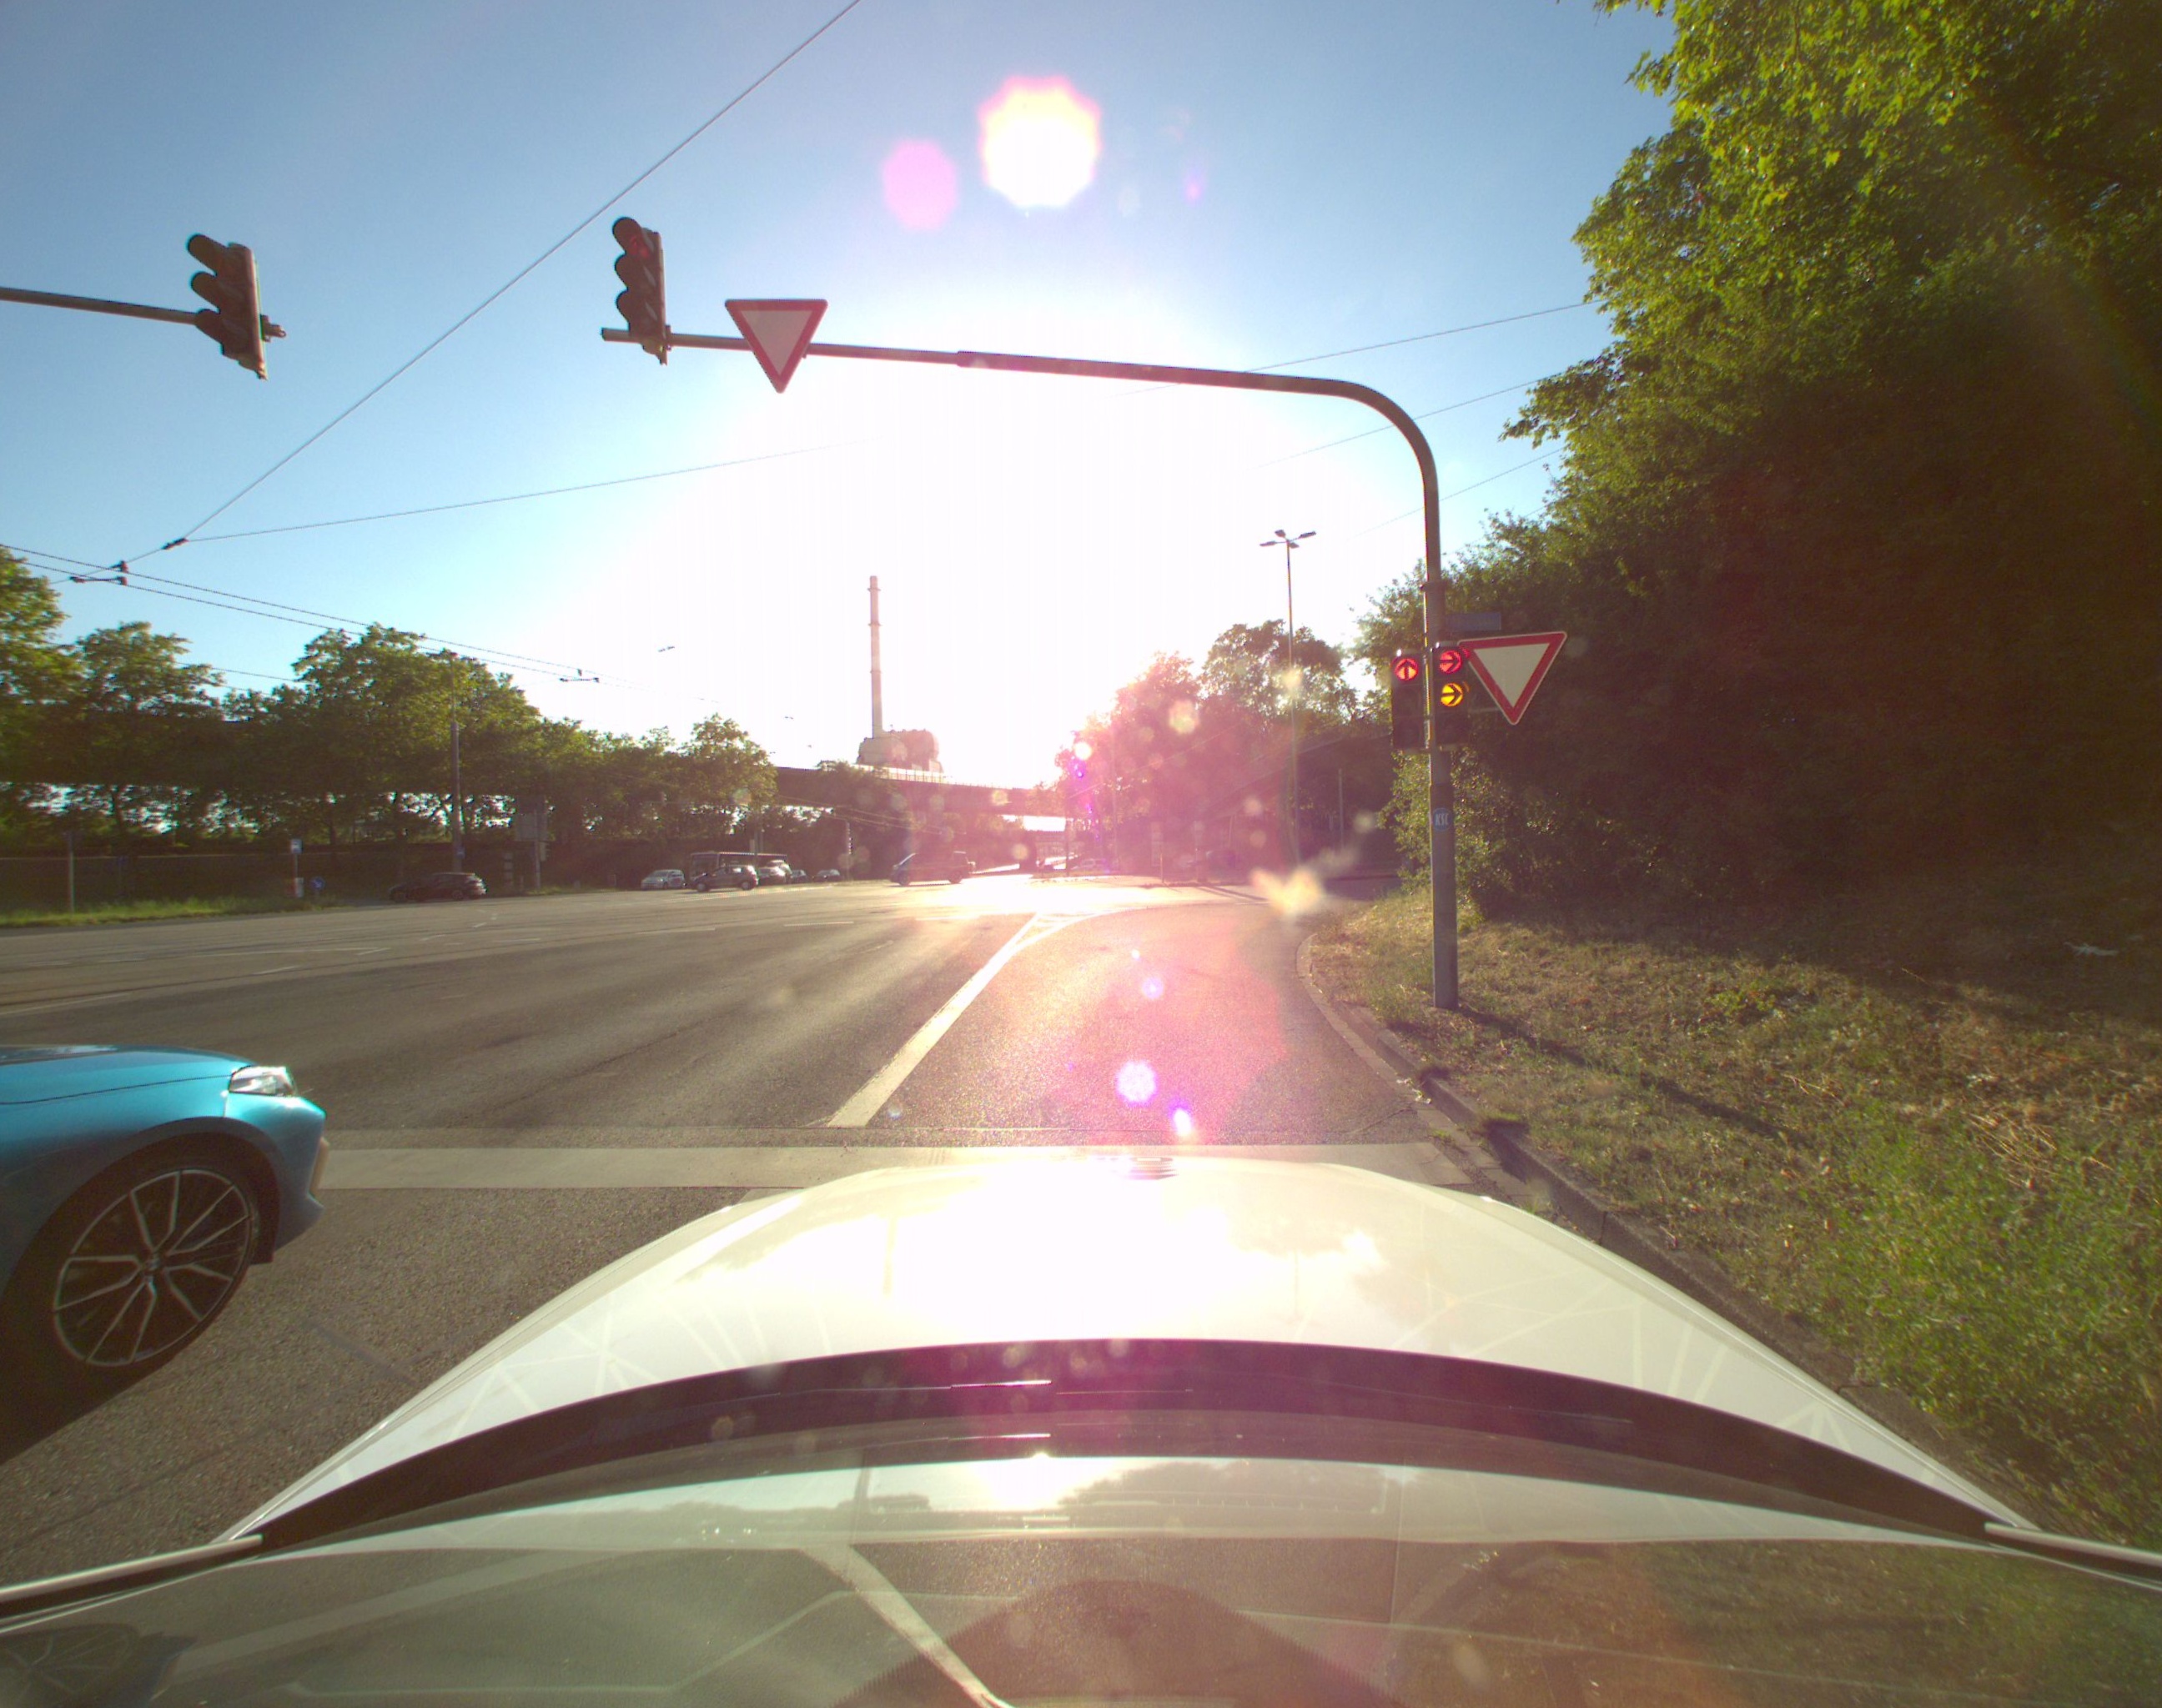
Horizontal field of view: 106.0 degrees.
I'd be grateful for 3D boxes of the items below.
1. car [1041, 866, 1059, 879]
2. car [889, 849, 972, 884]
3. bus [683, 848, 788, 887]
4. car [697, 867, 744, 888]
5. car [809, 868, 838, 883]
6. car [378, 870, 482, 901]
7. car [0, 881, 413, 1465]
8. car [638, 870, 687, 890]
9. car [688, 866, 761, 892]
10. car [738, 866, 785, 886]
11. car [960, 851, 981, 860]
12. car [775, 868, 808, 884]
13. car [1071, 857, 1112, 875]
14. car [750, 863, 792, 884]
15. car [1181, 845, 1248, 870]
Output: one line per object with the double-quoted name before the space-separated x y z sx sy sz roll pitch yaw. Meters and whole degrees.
"car" -3.555 2.153 94.145 1.685 1.422 4.153 -1 0 2
"car" -8.956 0.717 48.378 4.701 1.905 1.988 -1 0 -17
"bus" -29.551 1.086 70.662 2.810 2.954 12.866 -1 0 4
"car" -26.370 1.696 59.726 1.599 1.354 3.999 -1 0 0
"car" -27.782 2.306 88.116 1.693 1.442 4.002 -1 0 2
"car" -32.950 1.572 41.351 3.730 1.422 1.687 -1 0 -17
"car" -3.582 0.827 1.033 1.779 1.417 4.511 -1 0 -1
"car" -30.111 1.857 58.690 1.599 1.354 3.734 -1 0 0
"car" -21.192 1.443 48.561 3.728 1.422 1.688 -1 0 -15
"car" -23.535 1.621 60.100 1.704 1.354 4.097 -1 0 2
"car" -22.538 0.267 166.375 1.974 1.771 4.025 -1 -1 34
"car" -28.904 2.193 81.365 1.693 1.442 4.002 -1 0 2
"car" 0.974 1.123 76.447 1.723 1.652 4.174 -1 0 -34
"car" -25.725 1.598 67.748 1.704 1.652 4.097 -1 0 2
"car" 8.840 0.226 54.083 3.935 1.559 1.987 -1 0 -20
